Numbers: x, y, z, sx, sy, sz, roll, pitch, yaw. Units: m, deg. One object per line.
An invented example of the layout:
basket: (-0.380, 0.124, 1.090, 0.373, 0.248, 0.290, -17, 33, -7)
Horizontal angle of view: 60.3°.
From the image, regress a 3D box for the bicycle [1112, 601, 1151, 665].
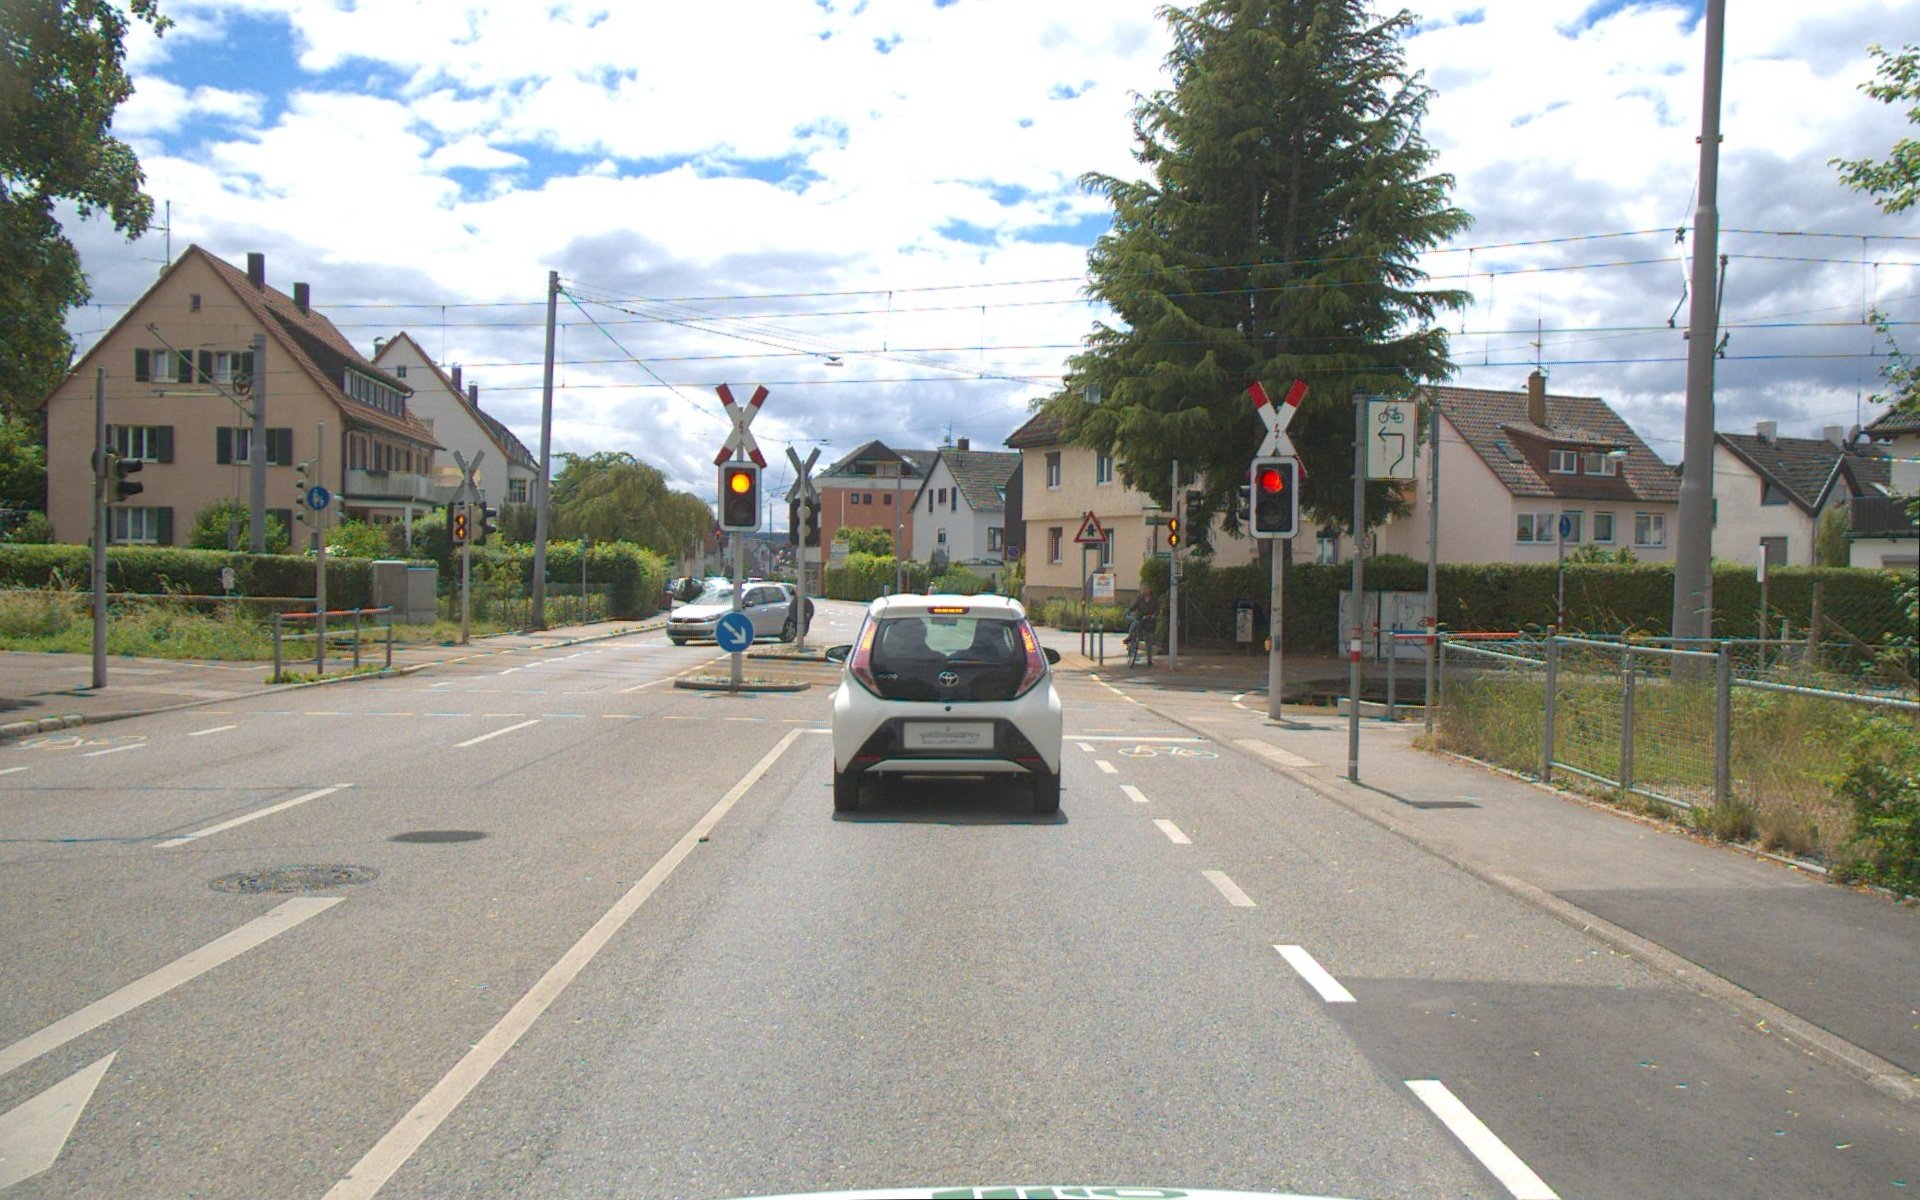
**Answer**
bicycle: (3.507, 0.658, 33.828, 0.449, 1.192, 1.477, -2, 3, -6)

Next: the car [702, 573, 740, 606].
car: (-13.344, -0.568, 92.603, 1.956, 1.749, 3.994, 2, 0, -7)

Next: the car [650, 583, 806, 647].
car: (-5.776, 0.367, 41.620, 1.868, 1.466, 4.094, 2, 0, 27)

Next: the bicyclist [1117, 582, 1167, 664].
bicyclist: (3.697, 0.456, 33.704, 0.825, 1.580, 0.755, -2, 3, -7)

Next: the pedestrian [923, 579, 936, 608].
pedestrian: (-1.737, -0.356, 93.815, 0.711, 1.604, 0.803, 2, 0, -1)

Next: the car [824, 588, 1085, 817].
car: (-0.165, 0.667, 12.750, 1.687, 1.467, 3.705, 2, 0, -4)
